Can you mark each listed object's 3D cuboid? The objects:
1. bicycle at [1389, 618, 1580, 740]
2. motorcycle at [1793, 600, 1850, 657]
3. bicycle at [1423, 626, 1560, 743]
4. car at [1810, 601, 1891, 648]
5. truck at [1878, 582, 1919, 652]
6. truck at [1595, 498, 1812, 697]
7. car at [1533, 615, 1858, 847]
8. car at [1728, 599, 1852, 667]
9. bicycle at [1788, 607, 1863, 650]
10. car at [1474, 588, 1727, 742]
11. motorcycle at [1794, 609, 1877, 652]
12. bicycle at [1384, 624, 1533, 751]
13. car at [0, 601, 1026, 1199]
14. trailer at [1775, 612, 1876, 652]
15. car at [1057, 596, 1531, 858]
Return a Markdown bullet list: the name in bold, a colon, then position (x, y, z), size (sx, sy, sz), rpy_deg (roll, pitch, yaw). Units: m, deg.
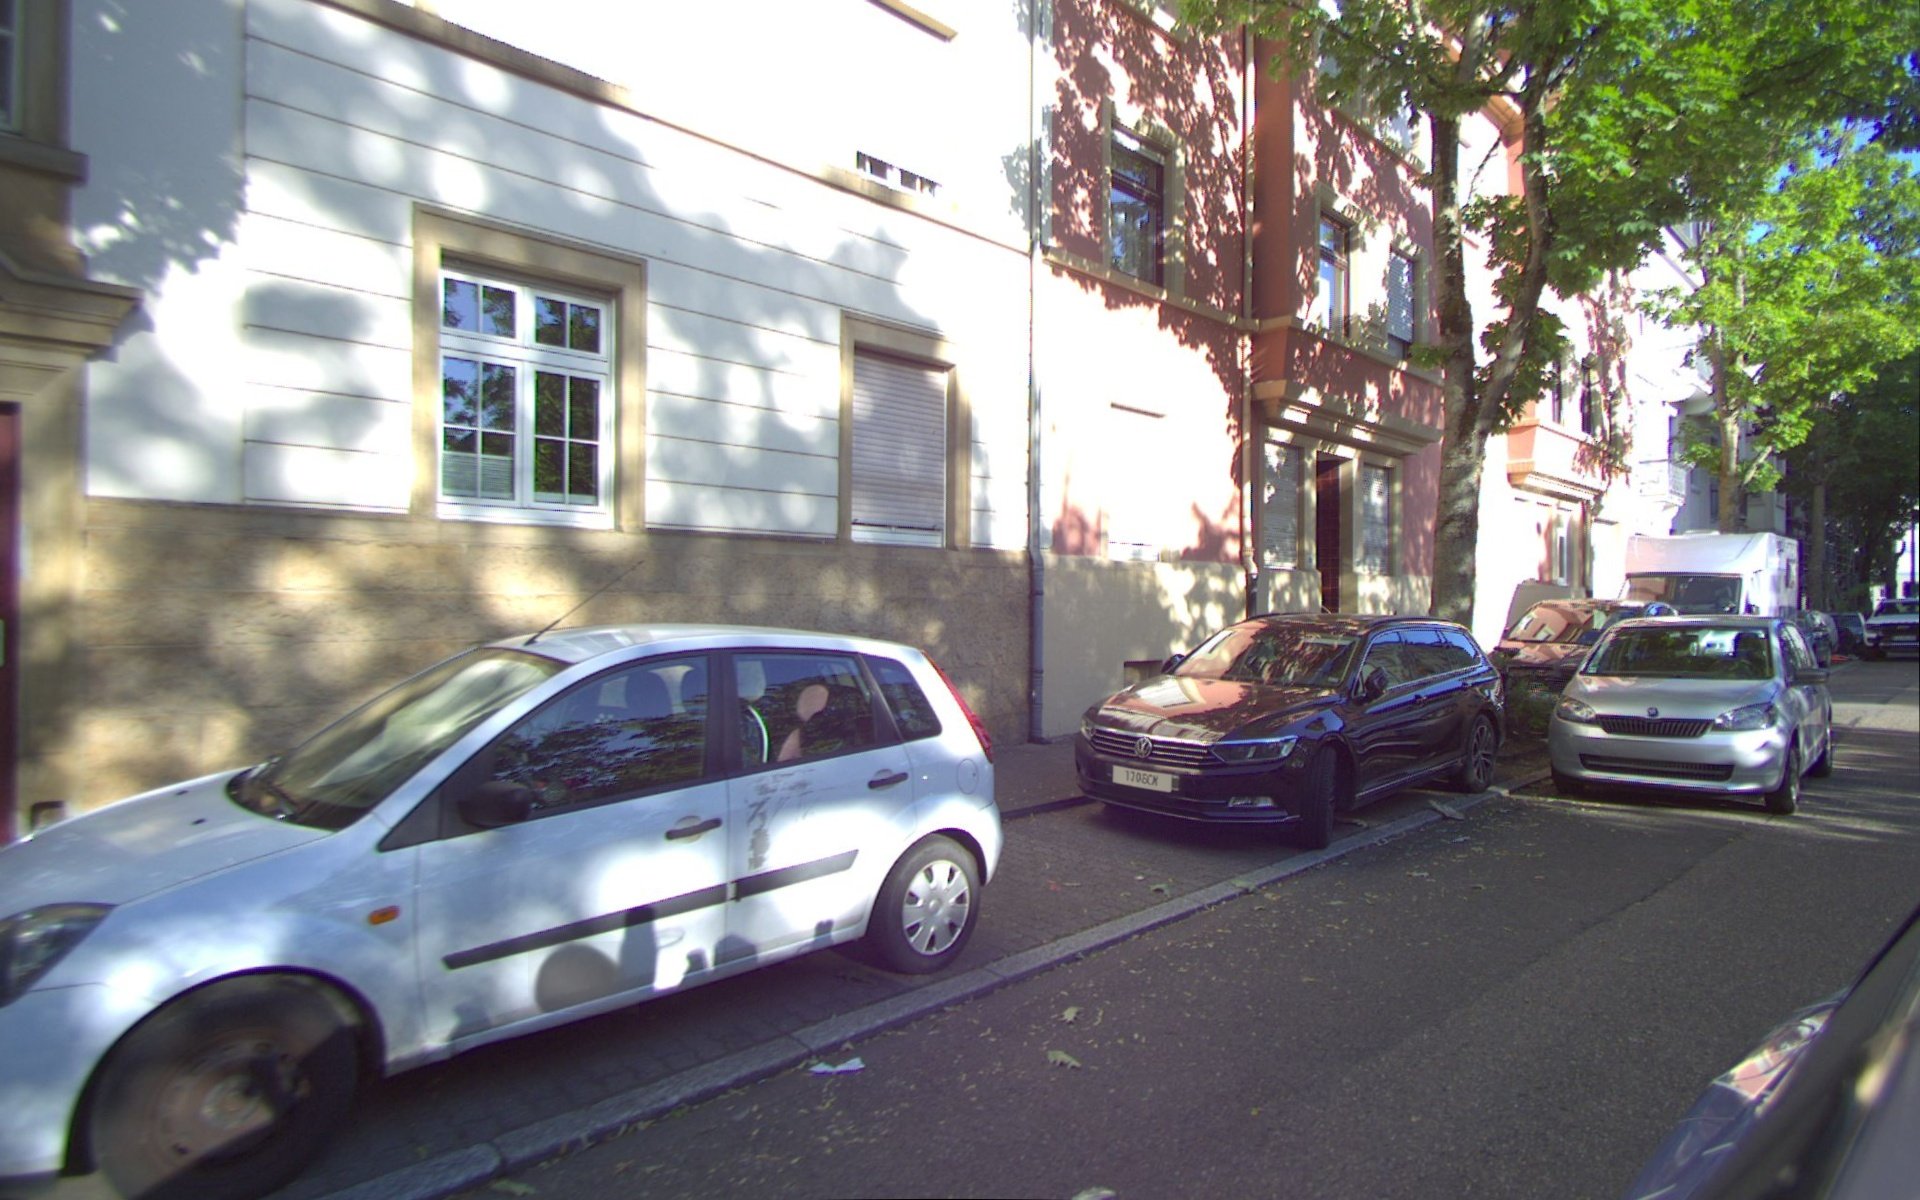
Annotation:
- **bicycle**: position (5.885, 0.841, 11.446), size (0.560, 1.181, 1.813), rpy_deg (1, 2, -43)
- **motorcycle**: position (23.684, 0.747, 27.810), size (2.101, 1.505, 0.931), rpy_deg (0, -1, -42)
- **bicycle**: position (5.414, 0.834, 10.351), size (0.293, 1.089, 1.202), rpy_deg (1, 0, -43)
- **car**: position (30.312, 0.781, 34.420), size (4.356, 1.440, 1.682), rpy_deg (0, 1, -44)
- **truck**: position (29.101, 0.499, 30.391), size (5.447, 1.974, 1.830), rpy_deg (0, -1, -43)
- **truck**: position (13.465, -0.078, 18.135), size (6.008, 3.005, 2.076), rpy_deg (0, 2, -44)
- **car**: position (6.574, 0.936, 8.897), size (3.737, 1.564, 1.680), rpy_deg (0, -1, -44)
- **car**: position (21.000, 0.762, 25.539), size (4.699, 1.549, 1.753), rpy_deg (0, 1, -42)
- **bicycle**: position (27.325, 0.887, 31.961), size (0.576, 1.322, 1.760), rpy_deg (1, -1, -44)
- **car**: position (8.871, 0.733, 13.806), size (4.863, 1.737, 1.886), rpy_deg (0, 0, -45)
- **motorcycle**: position (25.990, 0.908, 30.059), size (1.735, 1.256, 0.701), rpy_deg (0, -1, 8)
- **bicycle**: position (5.002, 0.843, 10.212), size (0.322, 1.154, 1.309), rpy_deg (1, 1, -42)
- **car**: position (-1.586, 0.773, 3.937), size (3.685, 1.506, 1.598), rpy_deg (0, 1, -43)
- **trailer**: position (24.948, 0.904, 29.222), size (2.072, 1.126, 1.102), rpy_deg (0, -1, 34)
- **car**: position (2.880, 0.755, 8.117), size (4.386, 1.533, 1.787), rpy_deg (0, -1, -44)
